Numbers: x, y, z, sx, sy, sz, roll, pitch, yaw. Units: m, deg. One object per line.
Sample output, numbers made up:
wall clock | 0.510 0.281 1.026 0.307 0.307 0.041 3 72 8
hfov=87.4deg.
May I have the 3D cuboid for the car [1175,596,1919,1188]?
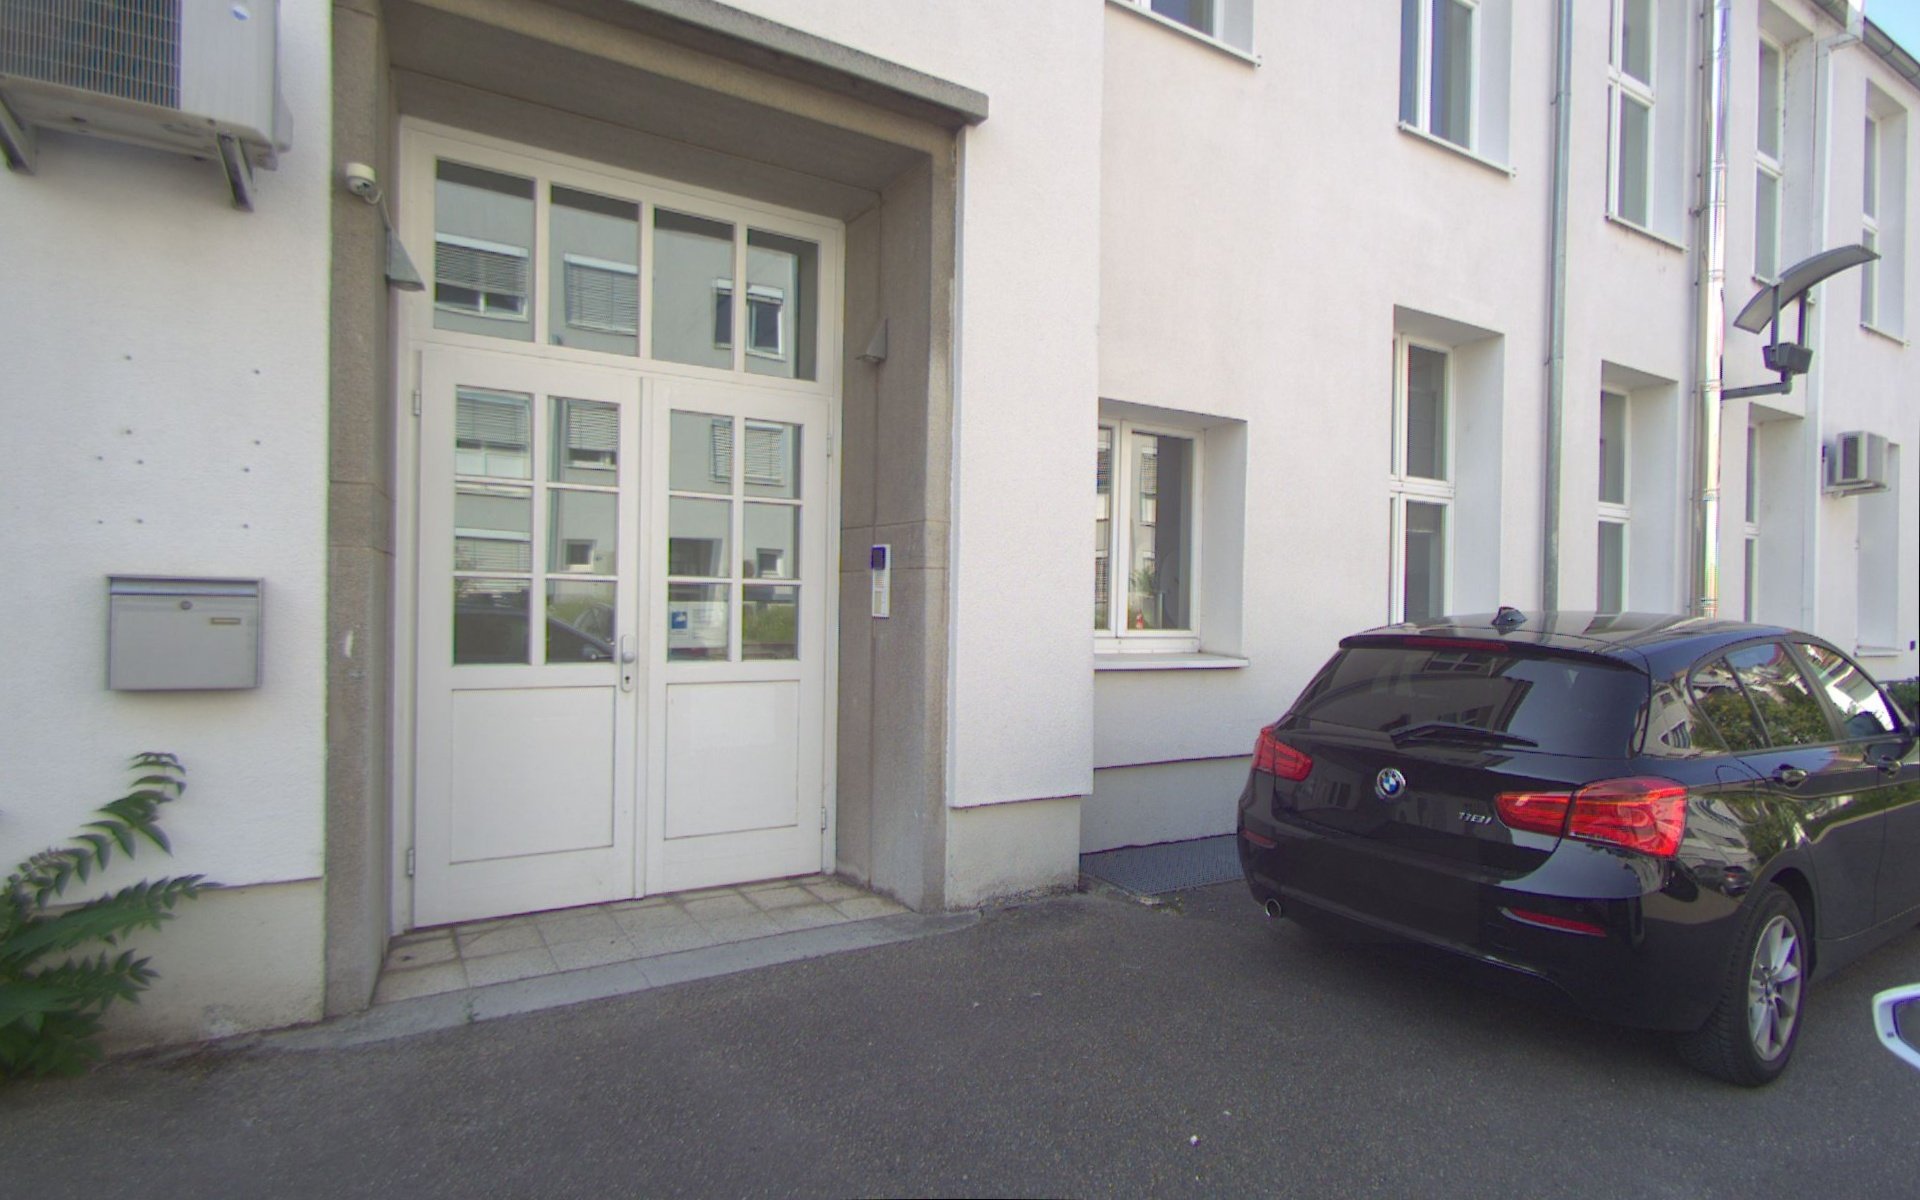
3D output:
car | 2.936 0.784 4.306 3.881 1.478 1.678 2 0 -33
